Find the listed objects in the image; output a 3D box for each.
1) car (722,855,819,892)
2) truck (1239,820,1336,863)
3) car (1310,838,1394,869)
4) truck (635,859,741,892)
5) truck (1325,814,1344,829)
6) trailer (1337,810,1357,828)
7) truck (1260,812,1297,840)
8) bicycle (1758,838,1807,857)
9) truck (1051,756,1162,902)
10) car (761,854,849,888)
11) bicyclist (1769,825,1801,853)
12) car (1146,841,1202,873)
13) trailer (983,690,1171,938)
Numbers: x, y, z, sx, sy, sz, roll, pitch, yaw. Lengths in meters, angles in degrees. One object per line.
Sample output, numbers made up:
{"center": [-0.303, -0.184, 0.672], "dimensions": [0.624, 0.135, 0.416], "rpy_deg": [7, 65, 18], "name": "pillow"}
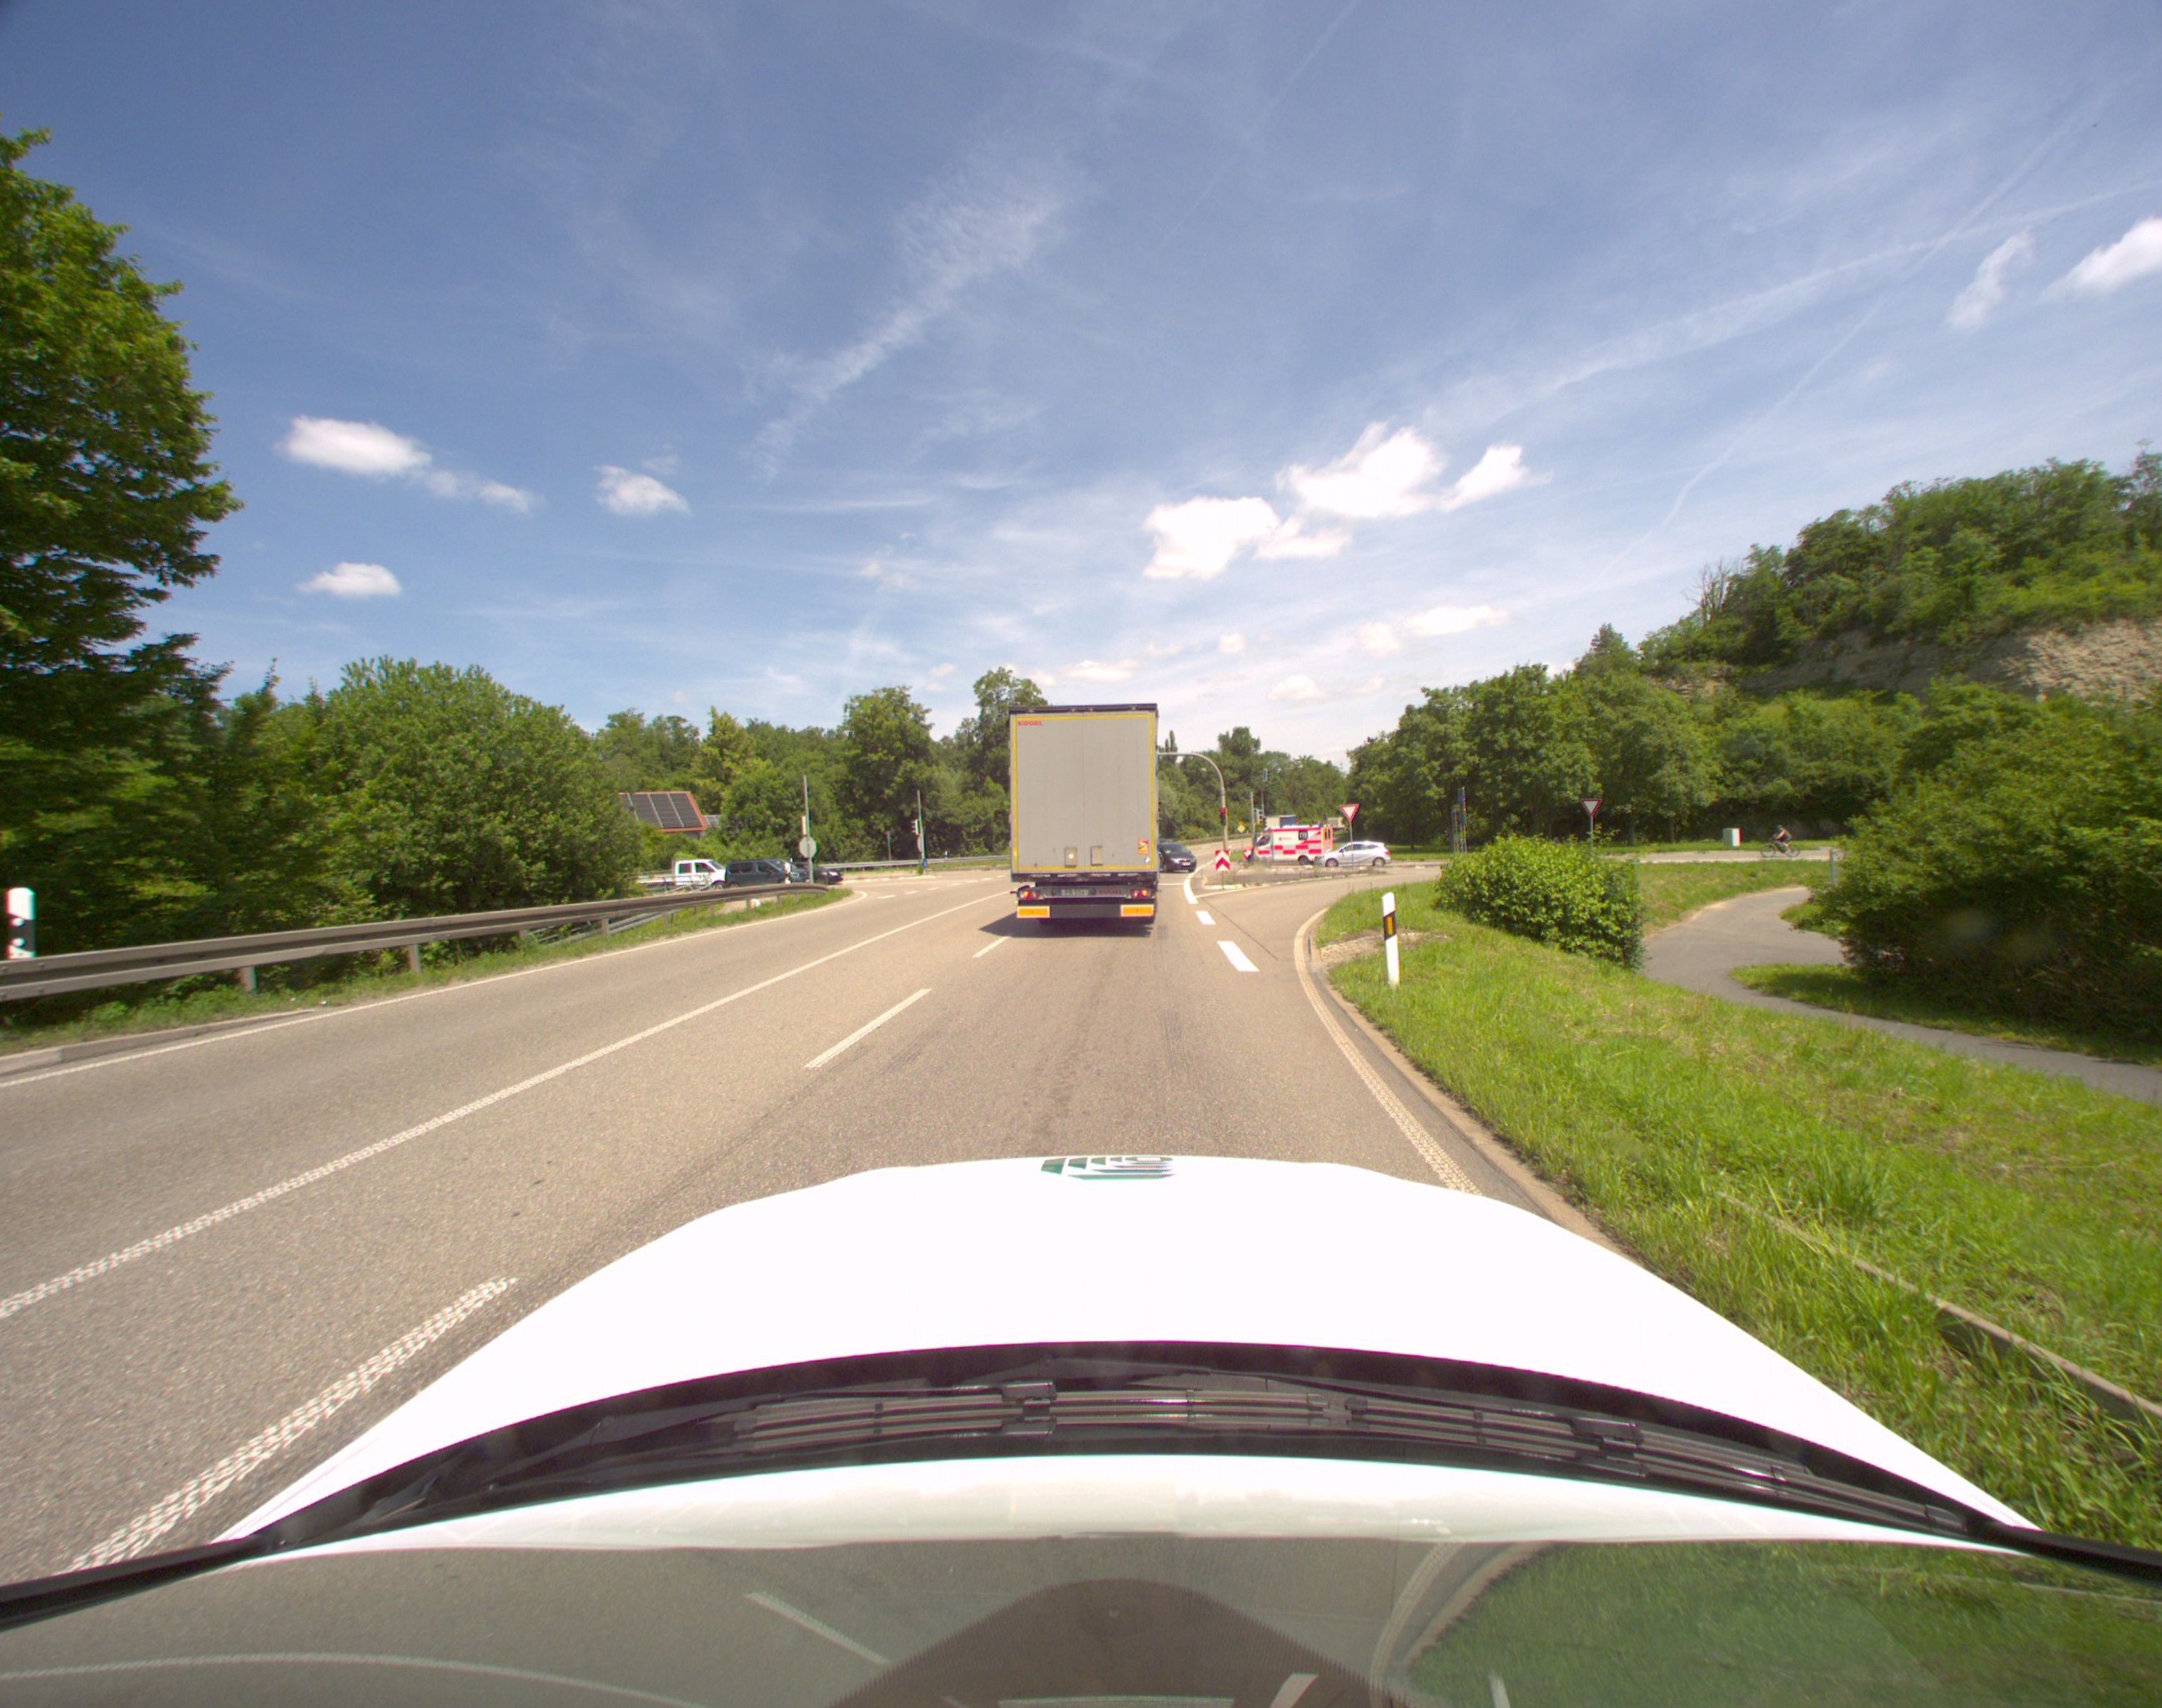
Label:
{"center": [-15.911, 1.007, 41.806], "dimensions": [4.205, 1.770, 2.007], "rpy_deg": [-1, 0, 12], "name": "car"}
{"center": [14.075, -0.781, 55.728], "dimensions": [5.952, 2.728, 2.517], "rpy_deg": [-1, -2, 38], "name": "truck"}
{"center": [15.978, -0.019, 48.204], "dimensions": [4.403, 1.718, 2.004], "rpy_deg": [0, -2, 7], "name": "car"}
{"center": [-21.707, 1.195, 45.169], "dimensions": [4.875, 1.791, 2.036], "rpy_deg": [0, -2, -10], "name": "truck"}
{"center": [53.141, -6.713, 170.379], "dimensions": [2.829, 2.948, 7.145], "rpy_deg": [-1, 0, 25], "name": "truck"}
{"center": [60.630, -7.960, 185.748], "dimensions": [3.222, 3.685, 9.304], "rpy_deg": [-1, 0, 25], "name": "trailer"}
{"center": [31.302, -4.375, 128.901], "dimensions": [3.150, 4.029, 11.814], "rpy_deg": [-1, 0, 26], "name": "truck"}
{"center": [38.073, -0.370, 44.198], "dimensions": [1.982, 0.995, 0.797], "rpy_deg": [0, -2, 0], "name": "bicycle"}
{"center": [0.986, -0.670, 26.136], "dimensions": [3.024, 4.034, 6.637], "rpy_deg": [-1, -1, 5], "name": "truck"}
{"center": [-15.525, 0.931, 45.930], "dimensions": [4.205, 1.770, 2.007], "rpy_deg": [-1, 0, 12], "name": "car"}
{"center": [38.170, -0.808, 44.163], "dimensions": [1.002, 1.448, 0.795], "rpy_deg": [0, -2, 0], "name": "bicyclist"}
{"center": [5.442, 0.209, 48.407], "dimensions": [1.994, 1.785, 4.925], "rpy_deg": [0, -2, -10], "name": "car"}
{"center": [0.449, -0.679, 19.721], "dimensions": [3.037, 4.033, 12.575], "rpy_deg": [-1, 0, 5], "name": "trailer"}
